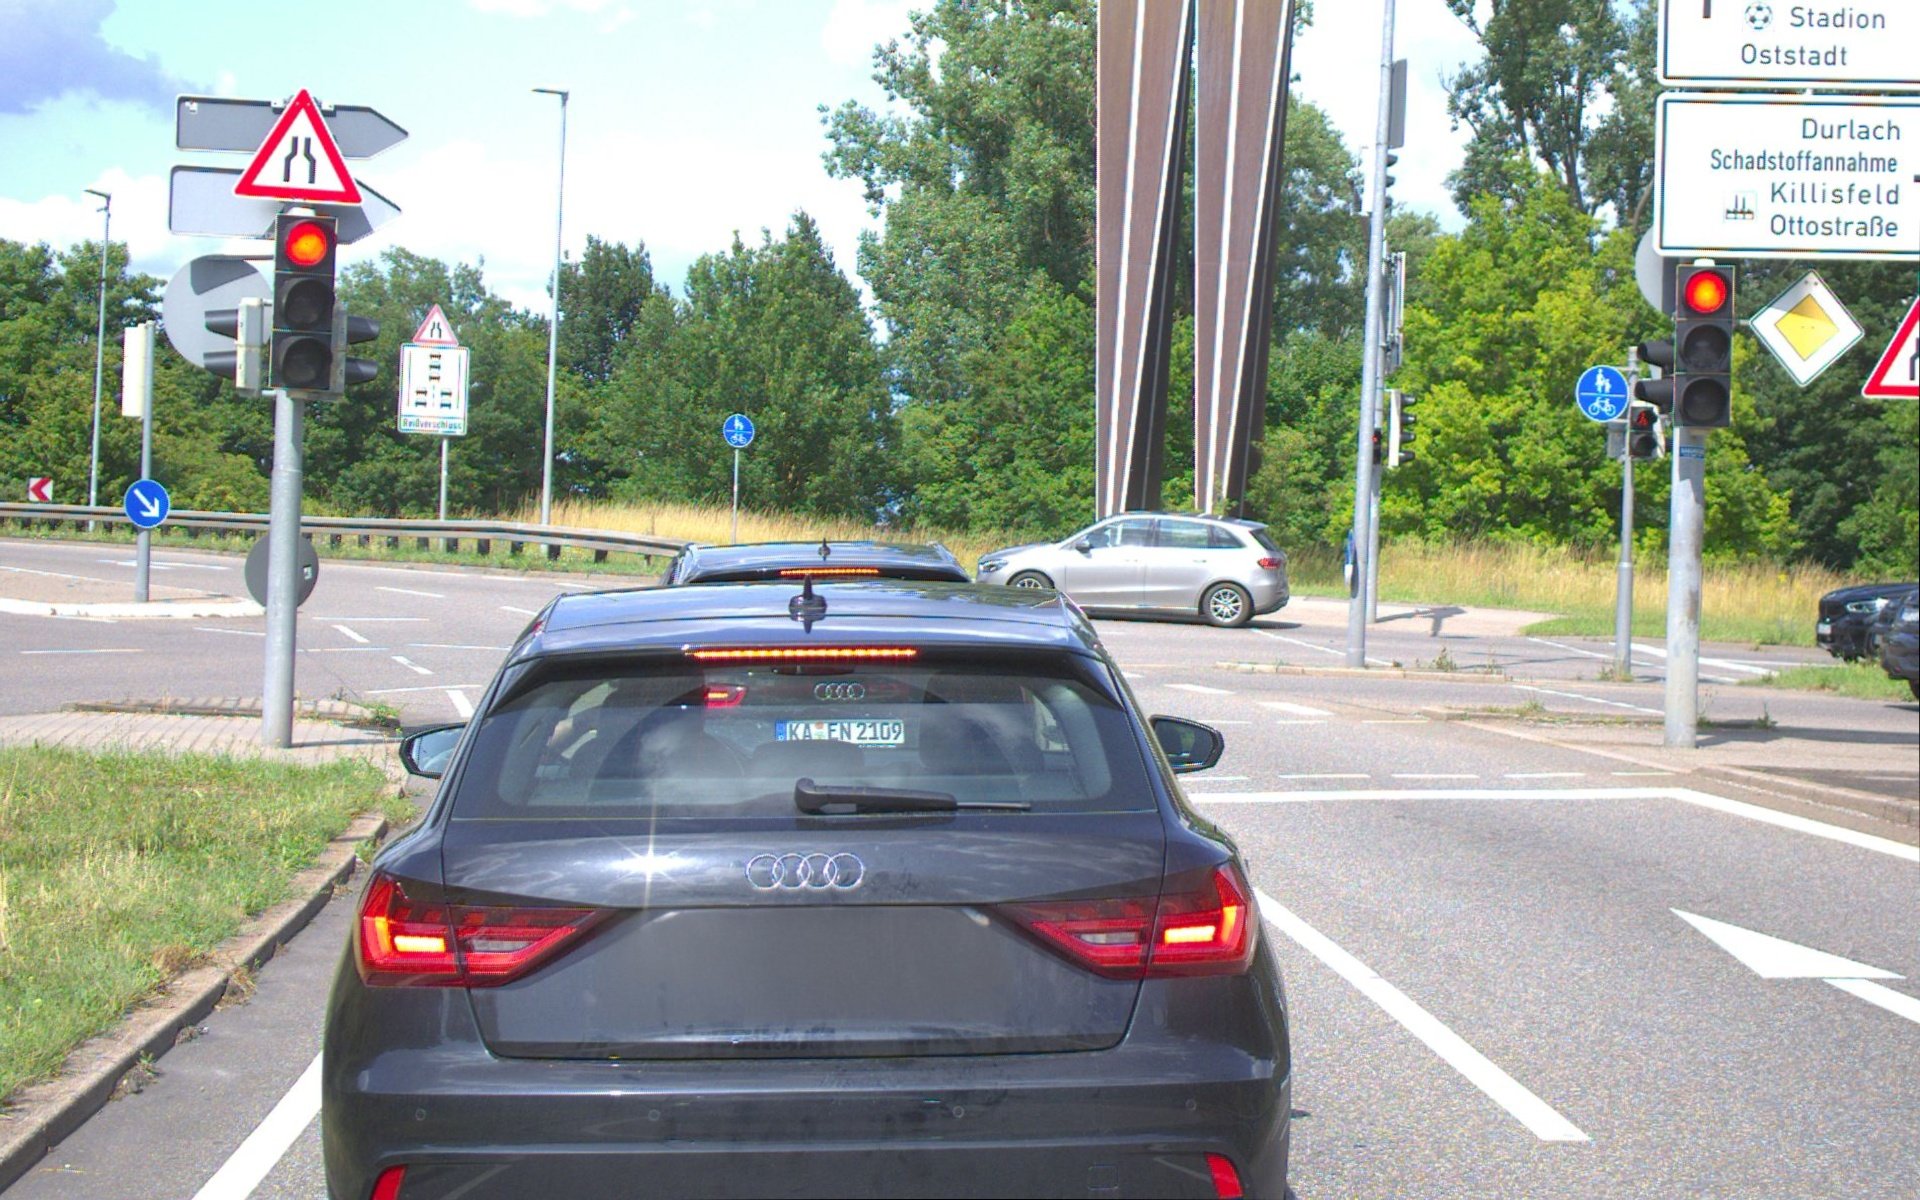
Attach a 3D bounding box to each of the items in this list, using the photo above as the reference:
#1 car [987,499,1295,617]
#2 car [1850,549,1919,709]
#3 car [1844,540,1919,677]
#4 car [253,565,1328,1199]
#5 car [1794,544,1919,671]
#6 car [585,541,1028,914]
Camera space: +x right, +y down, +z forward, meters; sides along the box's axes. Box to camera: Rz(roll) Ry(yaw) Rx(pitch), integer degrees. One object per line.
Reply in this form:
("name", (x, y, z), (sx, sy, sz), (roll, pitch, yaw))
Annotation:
("car", (2.569, -0.595, 48.262), (4.107, 1.491, 1.999), (2, 1, 8))
("car", (10.499, 0.313, 31.770), (3.957, 1.413, 1.954), (2, 1, -2))
("car", (12.641, 0.139, 39.883), (4.268, 1.539, 1.737), (2, 1, -1))
("car", (-0.295, 0.655, 7.539), (1.726, 1.399, 4.000), (0, 1, -1))
("car", (13.279, 0.140, 43.737), (4.847, 1.539, 1.737), (2, 1, -1))
("car", (-0.752, 0.460, 15.338), (1.726, 1.418, 3.845), (0, 1, -5))
